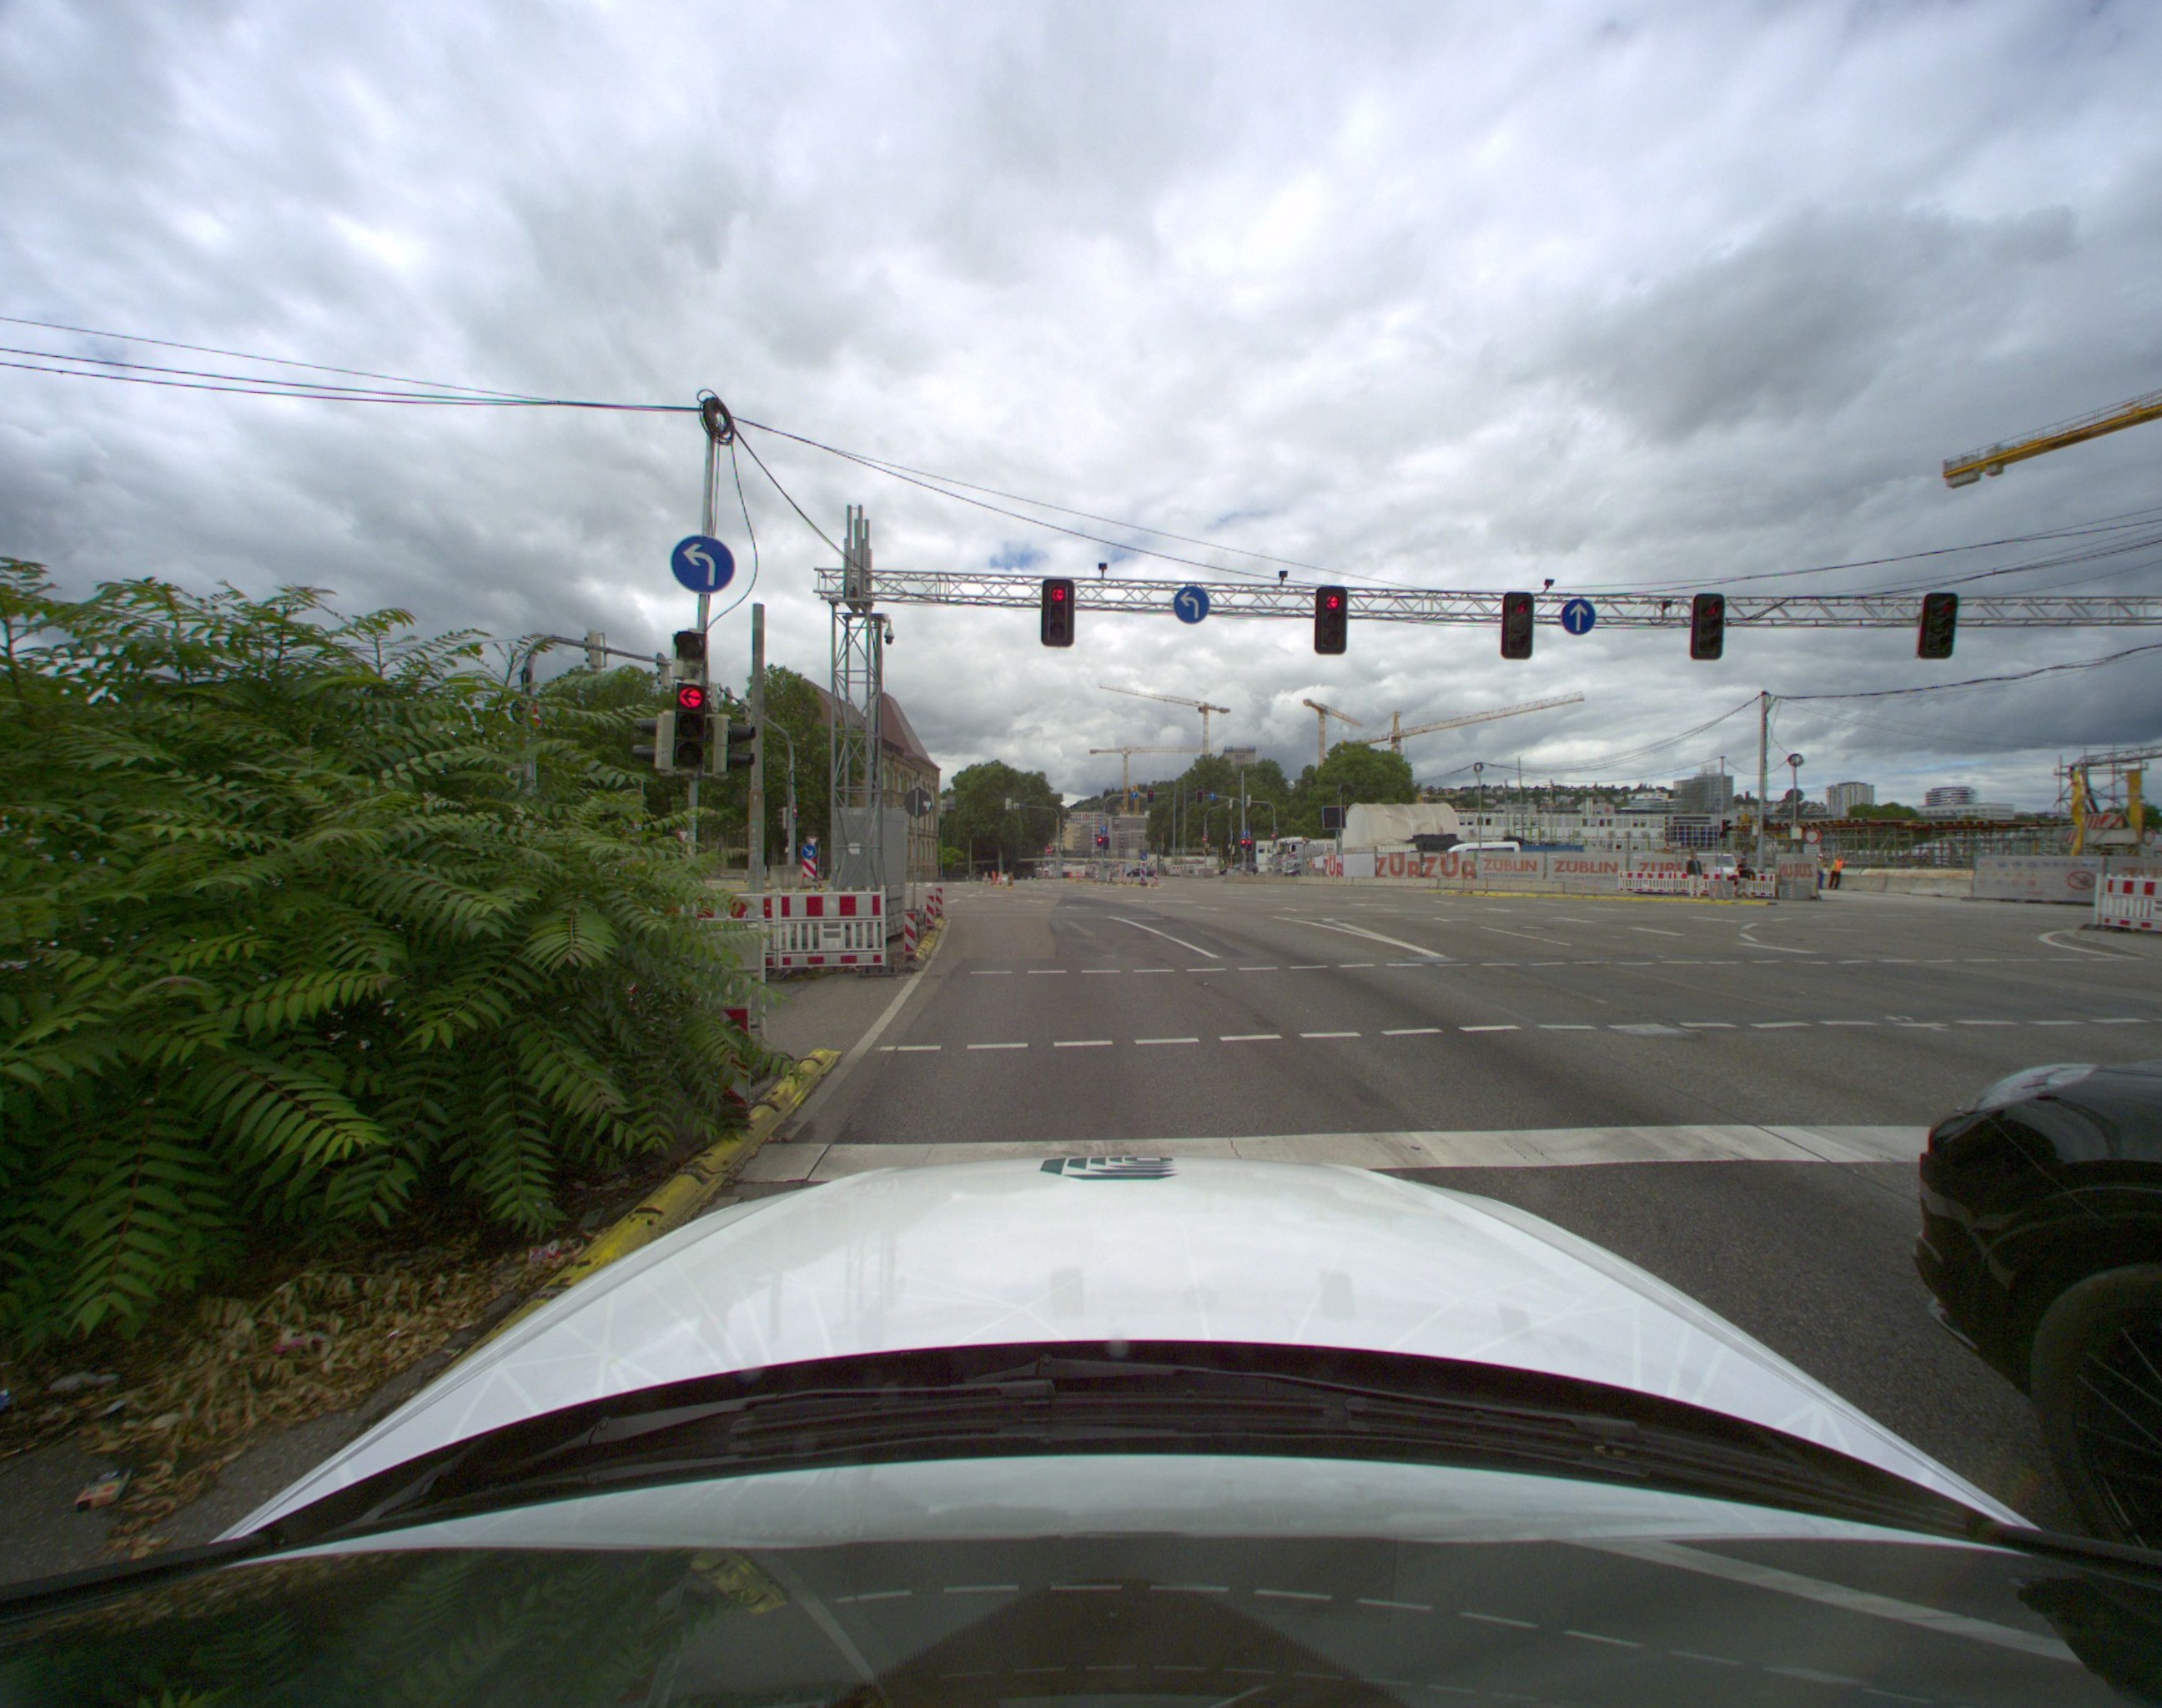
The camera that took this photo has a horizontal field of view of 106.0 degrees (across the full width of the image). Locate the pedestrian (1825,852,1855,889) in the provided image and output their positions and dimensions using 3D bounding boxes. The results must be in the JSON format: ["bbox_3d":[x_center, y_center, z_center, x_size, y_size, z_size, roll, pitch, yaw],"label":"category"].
[{"bbox_3d":[39.077,0.843,41.937,0.677,1.916,0.865,0,-1,-4],"label":"pedestrian"}]

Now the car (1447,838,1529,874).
[{"bbox_3d":[23.466,0.123,47.102,3.955,2.014,2.009,-1,-1,17],"label":"car"}]

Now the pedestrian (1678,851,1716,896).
[{"bbox_3d":[25.749,0.814,34.045,1.035,1.848,0.794,-1,-1,17],"label":"pedestrian"}]

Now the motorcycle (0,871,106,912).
[{"bbox_3d":[-25.383,0.903,19.841,2.342,0.941,0.697,-1,-1,-2],"label":"motorcycle"}]

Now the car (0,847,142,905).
[{"bbox_3d":[-29.757,0.605,22.978,4.095,1.547,1.999,0,-1,-2],"label":"car"}]

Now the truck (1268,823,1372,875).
[{"bbox_3d":[23.610,-0.521,80.618,9.734,4.961,3.097,0,-1,-16],"label":"truck"}]

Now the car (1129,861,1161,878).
[{"bbox_3d":[7.811,1.879,99.751,2.004,2.014,4.241,0,-1,-26],"label":"car"}]

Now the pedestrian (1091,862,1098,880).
[{"bbox_3d":[1.359,1.690,81.622,0.583,1.840,0.604,0,-1,-2],"label":"pedestrian"}]

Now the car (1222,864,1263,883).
[{"bbox_3d":[17.876,2.167,90.126,3.950,2.014,2.012,-1,-1,44],"label":"car"}]

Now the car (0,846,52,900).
[{"bbox_3d":[-32.892,0.552,23.360,4.095,1.547,1.999,0,-1,-1],"label":"car"}]

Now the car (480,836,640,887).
[{"bbox_3d":[-19.010,0.262,29.924,4.492,1.759,1.992,0,-1,-11],"label":"car"}]

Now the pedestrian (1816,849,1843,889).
[{"bbox_3d":[38.285,0.749,41.657,0.673,2.014,0.869,-1,-1,14],"label":"pedestrian"}]

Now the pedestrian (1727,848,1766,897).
[{"bbox_3d":[28.257,0.774,34.579,1.050,2.014,1.023,0,-1,-34],"label":"pedestrian"}]

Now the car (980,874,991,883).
[{"bbox_3d":[-19.873,5.120,169.782,1.987,1.838,3.998,0,-1,-1],"label":"car"}]

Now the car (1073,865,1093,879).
[{"bbox_3d":[0.281,2.660,119.207,1.996,2.014,3.980,0,-1,-14],"label":"car"}]

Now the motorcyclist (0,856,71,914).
[{"bbox_3d":[-25.456,0.734,19.845,0.786,1.380,0.697,0,-1,-2],"label":"motorcyclist"}]

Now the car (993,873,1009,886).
[{"bbox_3d":[-12.060,3.881,123.171,1.987,1.838,3.998,0,-1,-1],"label":"car"}]

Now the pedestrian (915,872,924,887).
[{"bbox_3d":[-21.594,3.359,108.883,0.946,2.014,0.767,0,-1,3],"label":"pedestrian"}]
